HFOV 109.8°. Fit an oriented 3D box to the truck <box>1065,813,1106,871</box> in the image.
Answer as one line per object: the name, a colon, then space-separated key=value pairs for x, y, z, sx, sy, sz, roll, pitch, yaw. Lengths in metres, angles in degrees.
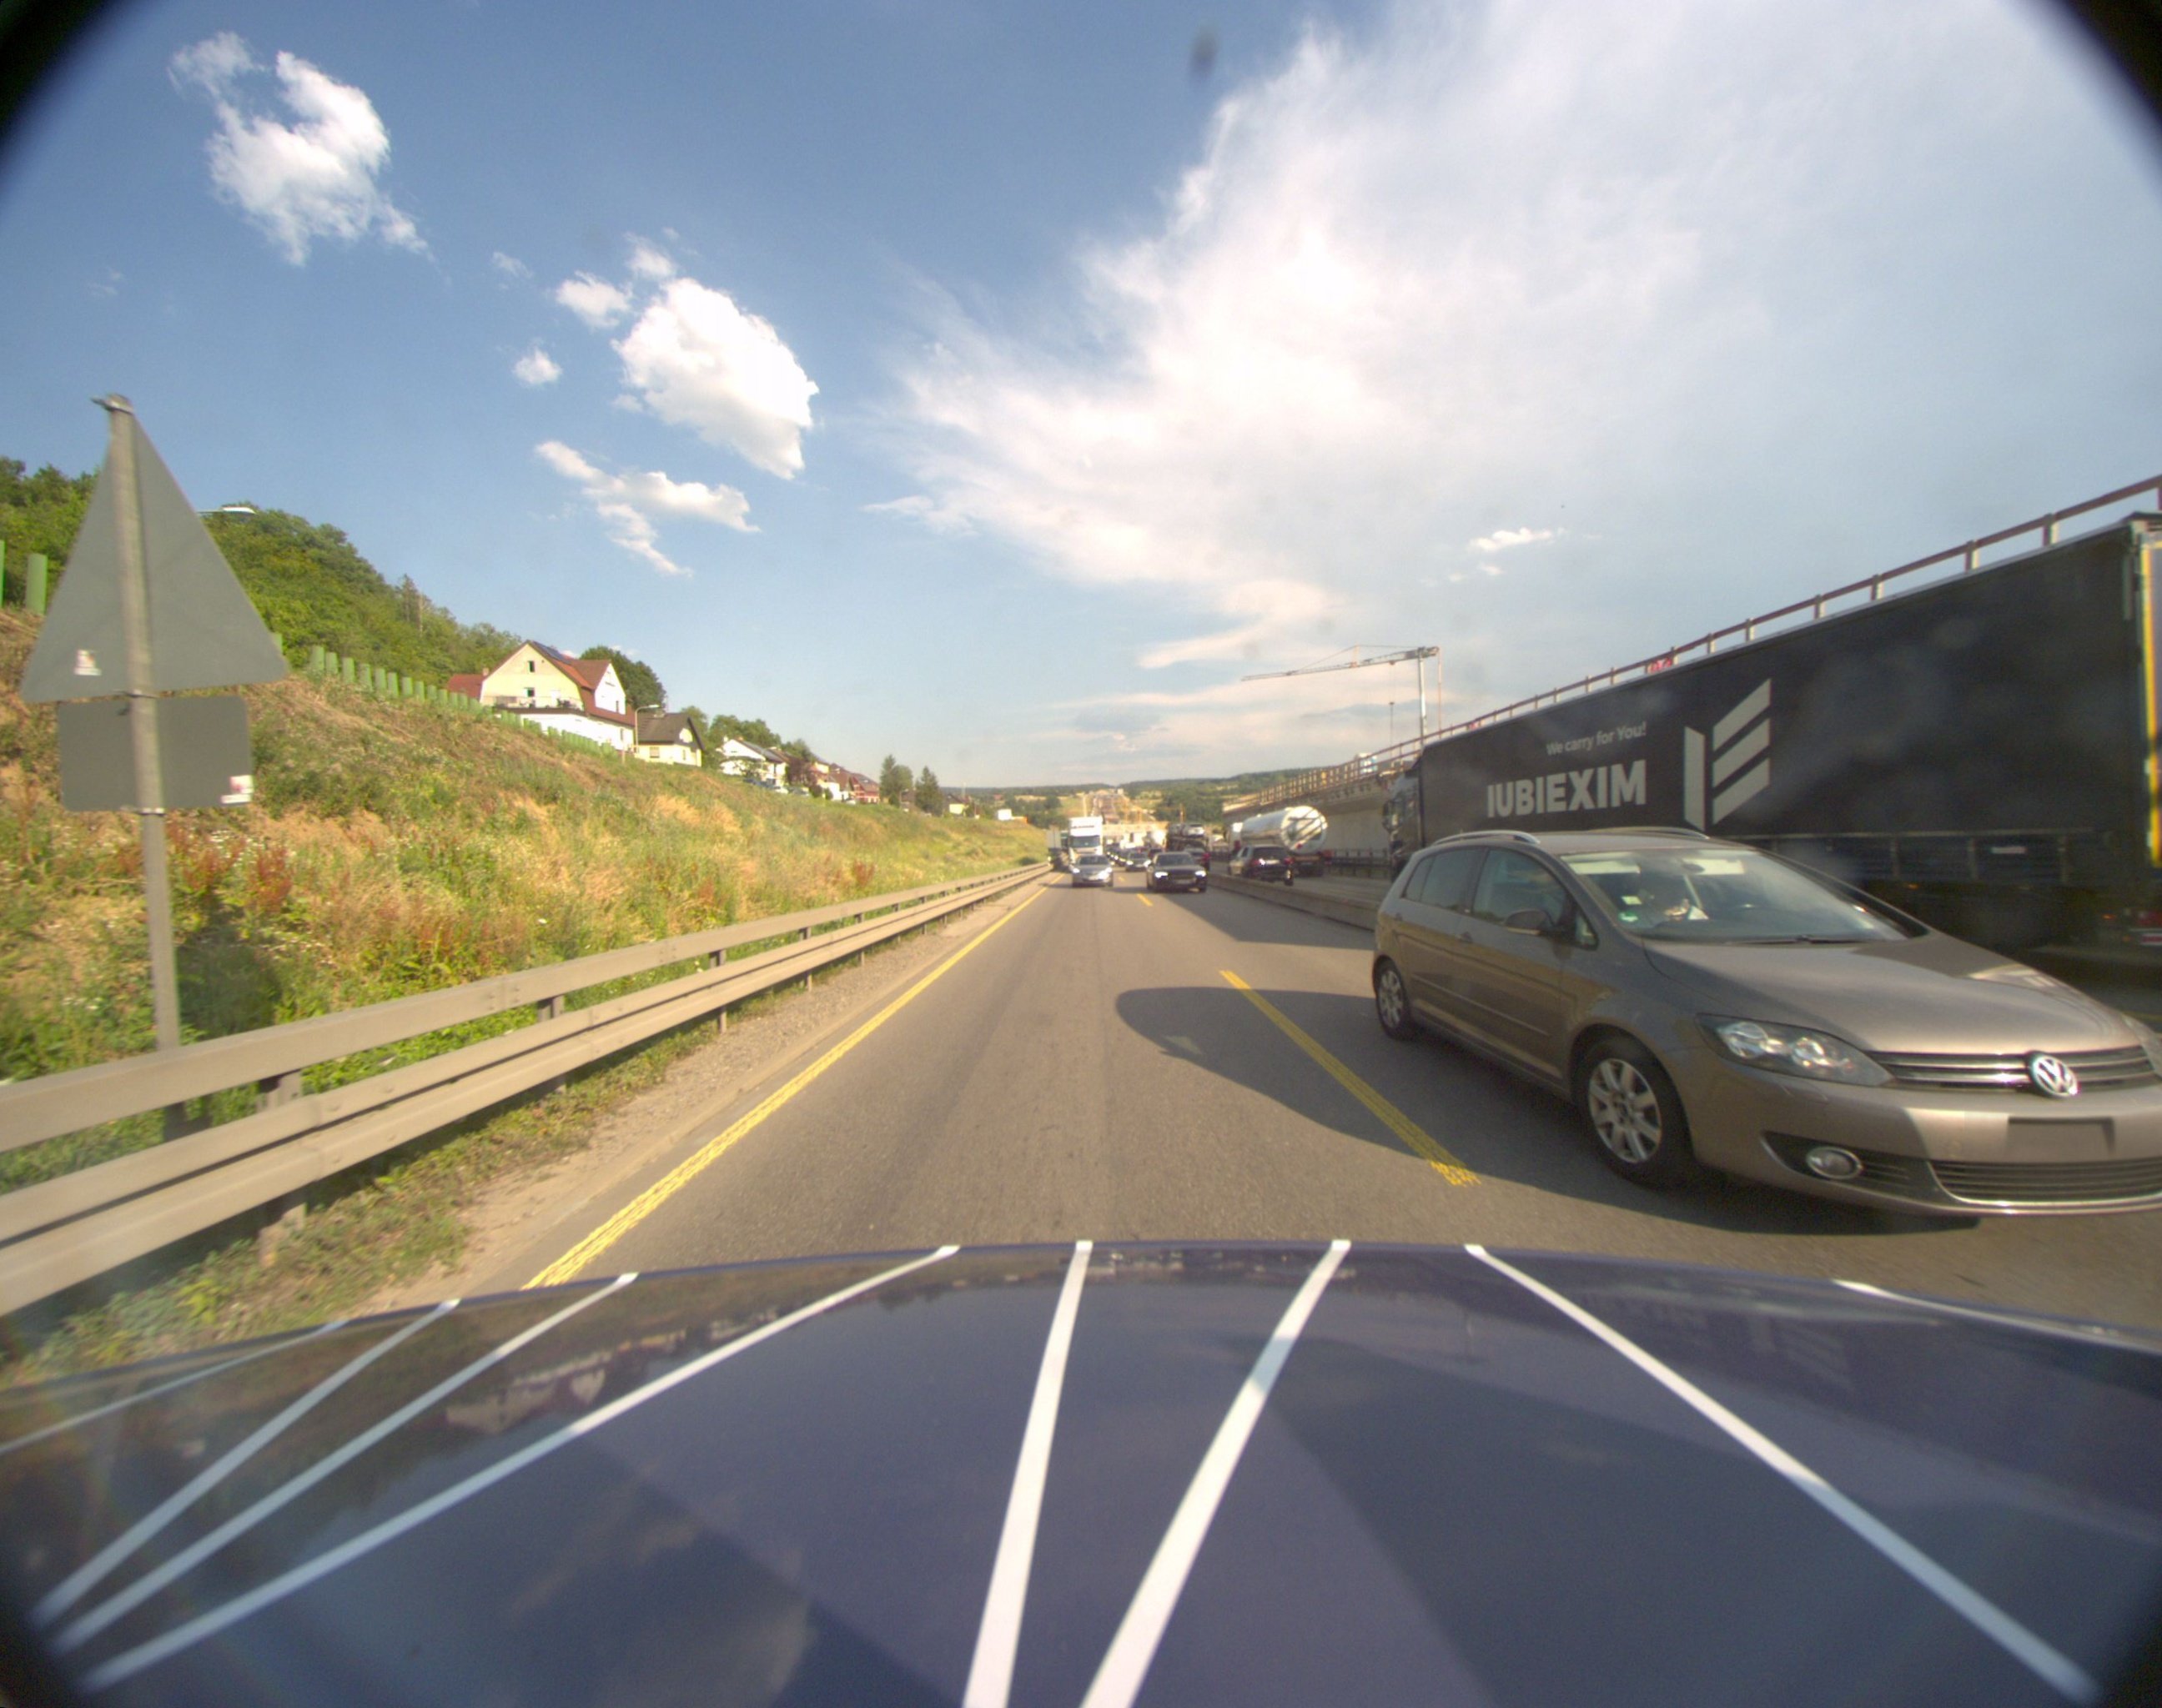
truck: x=0.466 y=-0.972 z=60.593 sx=2.741 sy=4.034 sz=12.668 roll=-2 pitch=1 yaw=1

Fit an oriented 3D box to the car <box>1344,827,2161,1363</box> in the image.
car: x=3.094 y=0.732 z=4.388 sx=1.685 sy=1.579 sz=4.272 roll=1 pitch=0 yaw=0

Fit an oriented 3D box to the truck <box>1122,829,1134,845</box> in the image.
truck: x=12.897 y=-4.661 z=210.118 sx=2.834 sy=4.239 sz=10.070 roll=-2 pitch=1 yaw=1

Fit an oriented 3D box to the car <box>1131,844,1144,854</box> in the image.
car: x=8.425 y=-0.766 z=113.110 sx=1.713 sy=1.437 sz=4.599 roll=-2 pitch=1 yaw=1

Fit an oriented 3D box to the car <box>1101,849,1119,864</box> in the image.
car: x=3.374 y=0.277 z=88.740 sx=1.918 sy=1.746 sz=4.000 roll=0 pitch=0 yaw=0

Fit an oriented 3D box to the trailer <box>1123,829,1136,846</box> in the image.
trailer: x=12.692 y=-4.347 z=200.742 sx=2.834 sy=4.259 sz=8.733 roll=-2 pitch=1 yaw=1

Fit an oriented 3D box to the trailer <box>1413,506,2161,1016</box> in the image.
trailer: x=10.132 y=-0.794 z=13.139 sx=2.771 sy=4.117 sz=14.025 roll=-2 pitch=0 yaw=1

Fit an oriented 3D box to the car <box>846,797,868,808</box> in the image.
car: x=-33.530 y=-7.704 z=113.793 sx=1.998 sy=1.434 sz=3.999 roll=-2 pitch=1 yaw=2

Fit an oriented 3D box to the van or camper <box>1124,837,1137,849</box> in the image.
van or camper: x=8.882 y=-1.985 z=135.505 sx=1.863 sy=2.002 sz=5.294 roll=-2 pitch=1 yaw=0

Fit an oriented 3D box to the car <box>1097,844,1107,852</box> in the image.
car: x=4.450 y=-1.320 z=161.985 sx=1.998 sy=1.696 sz=3.999 roll=-1 pitch=1 yaw=0

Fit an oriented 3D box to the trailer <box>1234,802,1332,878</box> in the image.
trailer: x=10.623 y=-0.786 z=41.161 sx=2.563 sy=3.506 sz=10.679 roll=-2 pitch=1 yaw=1

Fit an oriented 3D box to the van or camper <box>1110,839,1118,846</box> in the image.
van or camper: x=9.072 y=-3.154 z=208.374 sx=1.868 sy=1.882 sz=5.002 roll=-2 pitch=1 yaw=1

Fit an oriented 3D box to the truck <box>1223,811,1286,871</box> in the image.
truck: x=10.693 y=-0.823 z=47.316 sx=2.555 sy=3.390 sz=5.530 roll=-2 pitch=1 yaw=0

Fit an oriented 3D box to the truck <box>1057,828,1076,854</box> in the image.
truck: x=-2.266 y=-2.150 z=122.086 sx=2.547 sy=3.993 sz=6.070 roll=-2 pitch=1 yaw=1

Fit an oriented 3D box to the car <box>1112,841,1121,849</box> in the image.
car: x=8.511 y=-2.206 z=182.297 sx=1.785 sy=1.833 sz=4.852 roll=-2 pitch=1 yaw=1

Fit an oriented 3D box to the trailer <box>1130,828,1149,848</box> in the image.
trailer: x=12.448 y=-3.490 z=162.079 sx=2.933 sy=4.014 sz=13.770 roll=-2 pitch=1 yaw=0

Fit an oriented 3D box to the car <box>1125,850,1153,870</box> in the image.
car: x=4.152 y=0.431 z=54.834 sx=1.692 sy=1.294 sz=3.882 roll=-2 pitch=1 yaw=-1

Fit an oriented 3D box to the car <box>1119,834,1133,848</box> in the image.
car: x=8.967 y=-2.597 z=150.846 sx=1.999 sy=2.608 sz=7.407 roll=-2 pitch=1 yaw=-2

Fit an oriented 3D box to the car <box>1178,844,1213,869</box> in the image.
car: x=7.775 y=0.145 z=52.028 sx=1.730 sy=1.548 sz=4.297 roll=-2 pitch=0 yaw=0

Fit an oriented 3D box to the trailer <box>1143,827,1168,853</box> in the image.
trailer: x=11.708 y=-2.216 z=120.159 sx=2.659 sy=3.828 sz=13.439 roll=-2 pitch=1 yaw=0

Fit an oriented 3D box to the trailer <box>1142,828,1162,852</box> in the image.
trailer: x=11.771 y=-2.356 z=126.424 sx=2.659 sy=3.829 sz=6.427 roll=-2 pitch=1 yaw=0

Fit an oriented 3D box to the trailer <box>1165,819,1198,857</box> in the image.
trailer: x=11.319 y=-1.799 z=86.059 sx=2.778 sy=4.008 sz=7.206 roll=-2 pitch=1 yaw=1

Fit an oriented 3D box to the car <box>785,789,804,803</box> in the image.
car: x=-31.900 y=-6.463 z=84.685 sx=1.348 sy=1.315 sz=3.340 roll=-2 pitch=1 yaw=-11

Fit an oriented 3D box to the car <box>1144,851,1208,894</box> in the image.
car: x=3.445 y=0.628 z=28.312 sx=1.873 sy=1.411 sz=4.348 roll=-1 pitch=1 yaw=1

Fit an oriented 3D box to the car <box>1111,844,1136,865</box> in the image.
car: x=3.728 y=0.005 z=67.819 sx=1.998 sy=1.740 sz=3.999 roll=-1 pitch=1 yaw=0

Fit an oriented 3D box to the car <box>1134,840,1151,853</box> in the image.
car: x=7.867 y=-1.002 z=97.201 sx=1.761 sy=1.569 sz=4.338 roll=-2 pitch=1 yaw=1

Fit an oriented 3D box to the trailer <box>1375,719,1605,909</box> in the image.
trailer: x=10.235 y=-0.889 z=19.864 sx=2.771 sy=4.117 sz=5.976 roll=-2 pitch=0 yaw=1

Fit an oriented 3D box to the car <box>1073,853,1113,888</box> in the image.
car: x=0.542 y=0.692 z=33.790 sx=1.671 sy=1.425 sz=3.523 roll=-1 pitch=1 yaw=1

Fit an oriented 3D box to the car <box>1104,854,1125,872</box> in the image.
car: x=3.312 y=0.848 z=76.262 sx=1.918 sy=1.746 sz=4.000 roll=0 pitch=0 yaw=0

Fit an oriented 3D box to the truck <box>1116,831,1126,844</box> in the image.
truck: x=13.138 y=-5.371 z=251.740 sx=2.873 sy=4.038 sz=7.597 roll=-2 pitch=1 yaw=1

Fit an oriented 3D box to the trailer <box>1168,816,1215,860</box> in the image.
trailer: x=11.200 y=-1.631 z=78.596 sx=2.778 sy=4.008 sz=15.760 roll=-2 pitch=1 yaw=1

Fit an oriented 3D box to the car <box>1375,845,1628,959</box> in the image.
car: x=6.570 y=0.621 z=12.551 sx=1.645 sy=1.451 sz=4.595 roll=-2 pitch=1 yaw=0

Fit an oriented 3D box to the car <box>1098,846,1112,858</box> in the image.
car: x=3.173 y=-0.299 z=102.402 sx=1.720 sy=1.469 sz=3.727 roll=-2 pitch=1 yaw=0

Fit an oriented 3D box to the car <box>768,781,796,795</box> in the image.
car: x=-31.375 y=-6.900 z=79.887 sx=1.347 sy=1.225 sz=3.899 roll=-2 pitch=1 yaw=0

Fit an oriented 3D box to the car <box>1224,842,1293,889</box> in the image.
car: x=6.961 y=0.396 z=30.257 sx=1.645 sy=1.635 sz=4.688 roll=-2 pitch=1 yaw=0

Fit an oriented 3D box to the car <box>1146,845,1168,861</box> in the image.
car: x=7.772 y=-0.148 z=77.995 sx=1.770 sy=1.543 sz=4.835 roll=-2 pitch=1 yaw=1
